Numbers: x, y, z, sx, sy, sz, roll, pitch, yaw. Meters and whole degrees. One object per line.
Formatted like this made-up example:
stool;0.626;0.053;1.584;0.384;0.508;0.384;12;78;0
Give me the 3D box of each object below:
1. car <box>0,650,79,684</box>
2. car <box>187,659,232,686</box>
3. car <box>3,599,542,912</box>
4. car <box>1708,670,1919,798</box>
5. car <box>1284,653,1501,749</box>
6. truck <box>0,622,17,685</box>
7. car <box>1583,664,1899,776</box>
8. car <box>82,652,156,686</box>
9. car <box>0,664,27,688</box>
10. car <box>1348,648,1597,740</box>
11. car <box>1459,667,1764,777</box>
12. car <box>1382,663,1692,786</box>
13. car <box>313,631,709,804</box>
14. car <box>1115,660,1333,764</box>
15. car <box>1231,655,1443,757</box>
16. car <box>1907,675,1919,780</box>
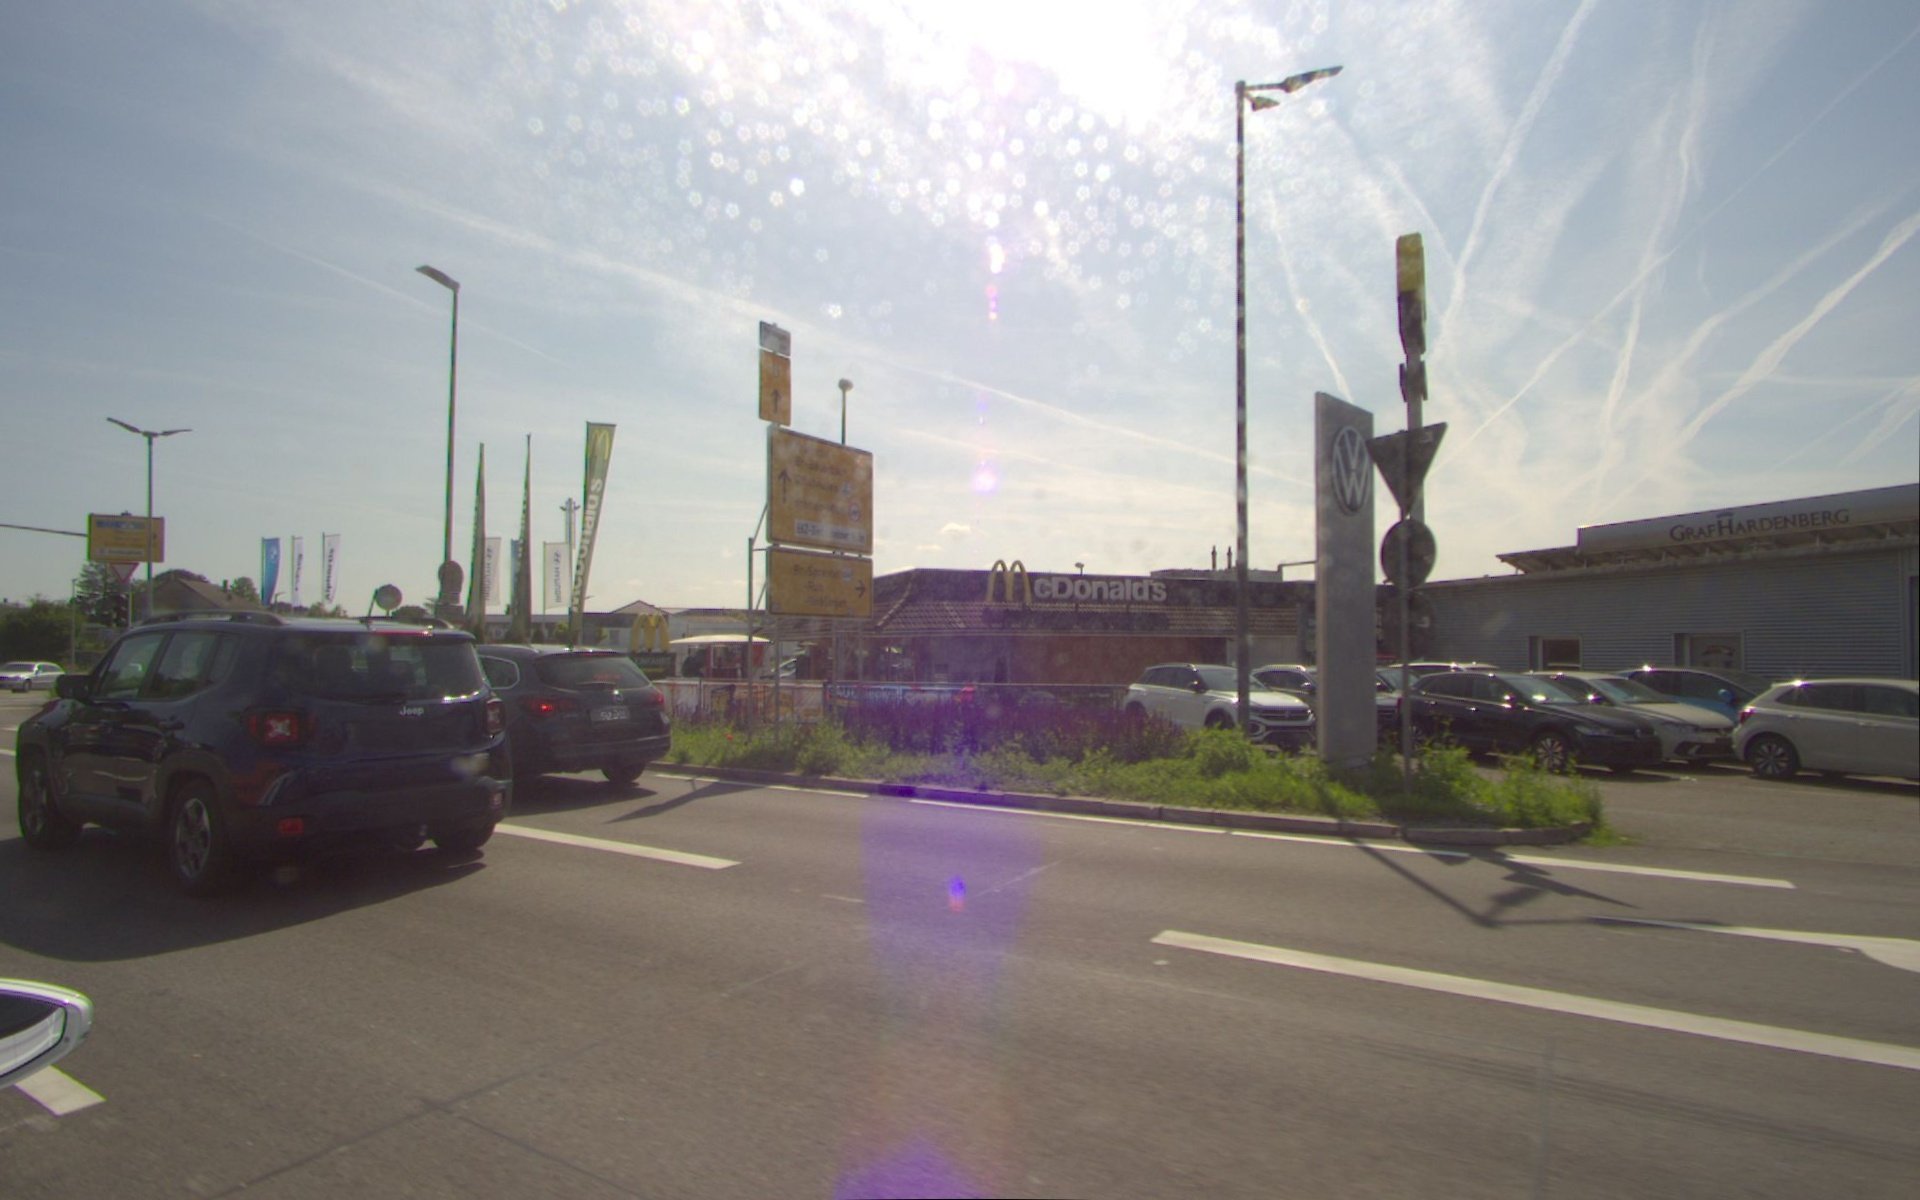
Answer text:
car;-45.097;3.281;48.386;1.966;1.522;4.995;2;-5;-19
car;-47.374;4.592;63.274;1.756;1.594;3.692;4;-5;-29
car;-5.002;0.893;7.176;3.943;1.675;1.767;-1;-2;32
car;12.818;1.776;13.371;1.721;1.511;4.252;0;-2;-22
car;8.899;2.017;21.001;1.747;1.692;4.159;0;-2;-22
truck;-58.862;2.651;55.338;2.716;3.668;9.714;0;-7;14
car;13.216;1.944;17.253;1.747;1.537;3.949;0;-2;-22
car;-42.162;3.446;50.312;1.971;1.594;3.984;4;-5;-28
car;-61.674;4.849;63.561;1.966;1.478;4.315;0;-4;-20
car;11.004;1.940;21.940;1.881;1.692;4.805;0;-2;-22
car;10.959;1.976;17.220;1.767;1.469;4.143;0;-2;-22
car;8.991;1.859;16.019;1.747;1.552;4.079;0;-2;-22
car;-5.019;1.152;11.006;4.390;1.538;1.989;-1;-4;35
car;4.821;1.995;18.961;1.830;1.596;4.222;0;-2;-22
car;7.308;1.997;19.831;1.747;1.692;3.899;0;-2;-22
car;15.224;1.783;13.073;1.722;1.495;3.785;0;-2;-22
